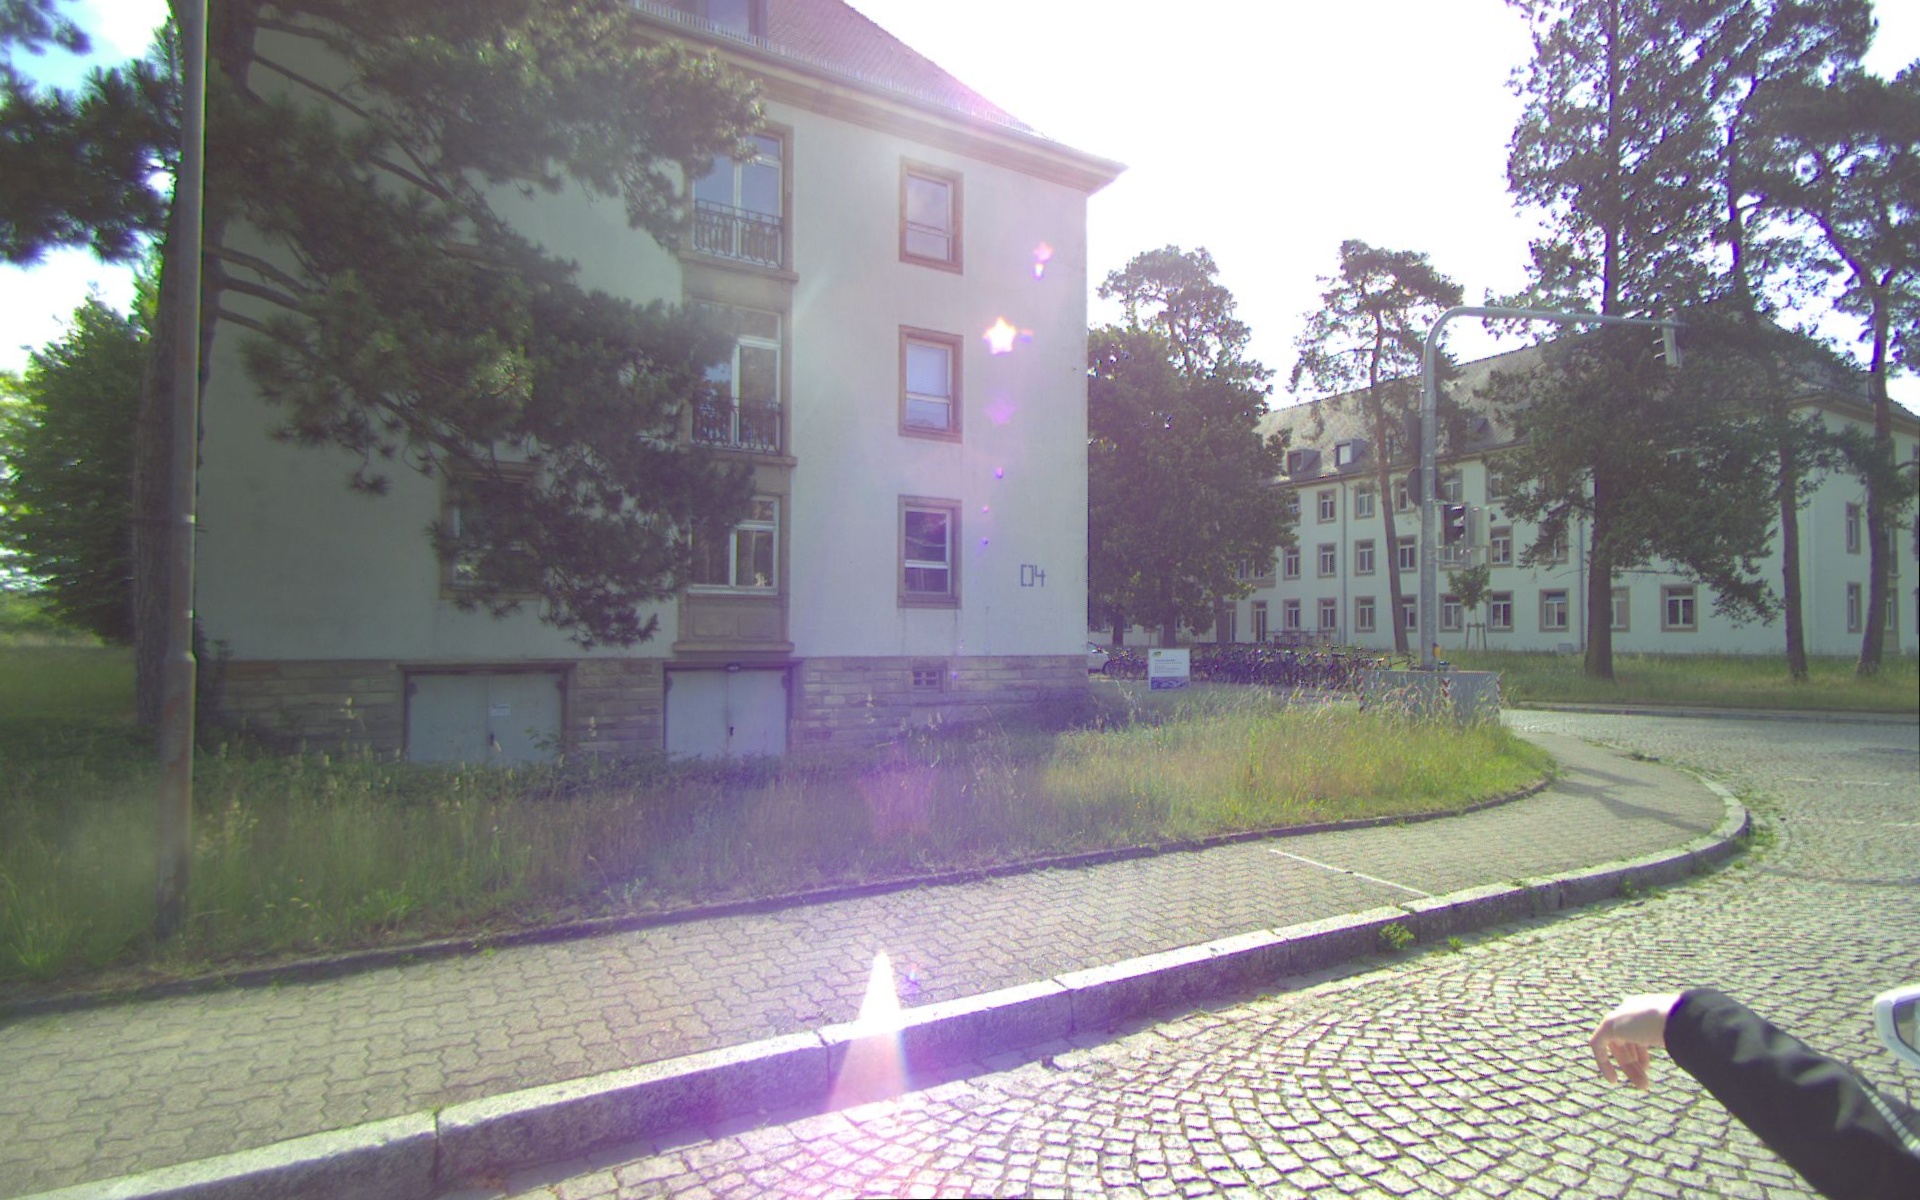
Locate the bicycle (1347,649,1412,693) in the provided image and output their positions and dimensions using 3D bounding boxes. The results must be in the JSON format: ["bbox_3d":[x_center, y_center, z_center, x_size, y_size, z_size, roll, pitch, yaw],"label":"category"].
[{"bbox_3d":[12.165,2.032,29.115,2.080,1.236,0.630,1,-2,-31],"label":"bicycle"}]

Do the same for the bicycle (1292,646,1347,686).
[{"bbox_3d":[11.379,2.077,31.780,1.993,1.236,0.511,1,-2,-31],"label":"bicycle"}]

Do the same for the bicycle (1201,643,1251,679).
[{"bbox_3d":[9.343,2.112,35.210,1.915,1.236,0.511,1,-2,-31],"label":"bicycle"}]

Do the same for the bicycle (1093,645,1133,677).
[{"bbox_3d":[6.082,2.399,39.941,1.813,1.236,0.510,2,-3,-39],"label":"bicycle"}]

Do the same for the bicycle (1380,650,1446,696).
[{"bbox_3d":[12.710,2.019,28.175,2.090,1.236,0.630,1,-2,-31],"label":"bicycle"}]

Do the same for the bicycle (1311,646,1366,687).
[{"bbox_3d":[11.868,2.077,31.479,1.878,1.236,0.545,1,-2,-31],"label":"bicycle"}]

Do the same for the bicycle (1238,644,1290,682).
[{"bbox_3d":[10.193,2.093,33.683,1.915,1.236,0.511,1,-2,-31],"label":"bicycle"}]

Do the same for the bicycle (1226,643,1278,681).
[{"bbox_3d":[9.939,2.099,34.167,1.915,1.236,0.511,1,-2,-31],"label":"bicycle"}]

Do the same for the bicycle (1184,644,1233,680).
[{"bbox_3d":[8.899,2.215,35.982,1.915,1.236,0.511,1,-2,-31],"label":"bicycle"}]

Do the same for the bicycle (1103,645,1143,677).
[{"bbox_3d":[6.399,2.393,39.426,1.815,1.236,0.509,2,-3,-42],"label":"bicycle"}]

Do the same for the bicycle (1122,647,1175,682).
[{"bbox_3d":[6.807,2.310,36.329,1.794,1.236,0.515,-1,-2,24],"label":"bicycle"}]

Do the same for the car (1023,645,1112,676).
[{"bbox_3d":[4.570,2.538,42.571,3.550,1.227,1.504,1,-3,-29],"label":"car"}]

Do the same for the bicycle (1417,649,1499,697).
[{"bbox_3d":[13.352,1.937,26.976,0.627,1.236,1.935,1,-2,-30],"label":"bicycle"}]

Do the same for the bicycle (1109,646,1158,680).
[{"bbox_3d":[6.528,2.373,37.926,1.792,1.236,0.516,0,-2,6],"label":"bicycle"}]

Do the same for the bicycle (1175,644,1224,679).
[{"bbox_3d":[8.681,2.220,36.372,1.915,1.236,0.511,1,-2,-31],"label":"bicycle"}]

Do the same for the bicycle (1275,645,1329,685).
[{"bbox_3d":[11.016,2.083,32.316,1.954,1.236,0.511,1,-2,-31],"label":"bicycle"}]

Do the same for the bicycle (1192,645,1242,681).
[{"bbox_3d":[9.113,2.210,35.610,1.915,1.236,0.511,1,-2,-31],"label":"bicycle"}]

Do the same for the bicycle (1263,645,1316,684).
[{"bbox_3d":[10.752,2.084,32.761,1.954,1.236,0.511,1,-2,-31],"label":"bicycle"}]

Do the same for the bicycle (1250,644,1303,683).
[{"bbox_3d":[10.461,2.087,33.198,1.932,1.236,0.511,1,-2,-31],"label":"bicycle"}]

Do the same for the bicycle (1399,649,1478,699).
[{"bbox_3d":[12.698,1.944,26.697,0.627,1.236,1.853,1,-2,-30],"label":"bicycle"}]

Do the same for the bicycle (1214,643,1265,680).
[{"bbox_3d":[9.658,2.106,34.689,1.915,1.236,0.511,1,-2,-31],"label":"bicycle"}]

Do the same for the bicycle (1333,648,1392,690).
[{"bbox_3d":[12.062,2.050,30.053,1.967,1.236,0.569,1,-2,-31],"label":"bicycle"}]

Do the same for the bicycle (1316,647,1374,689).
[{"bbox_3d":[11.798,2.063,30.766,2.006,1.236,0.576,1,-2,-31],"label":"bicycle"}]

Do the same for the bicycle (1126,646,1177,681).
[{"bbox_3d":[7.037,2.319,36.936,1.794,1.236,0.515,-1,-2,24],"label":"bicycle"}]

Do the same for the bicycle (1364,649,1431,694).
[{"bbox_3d":[12.461,2.026,28.589,2.100,1.236,0.630,1,-2,-31],"label":"bicycle"}]
